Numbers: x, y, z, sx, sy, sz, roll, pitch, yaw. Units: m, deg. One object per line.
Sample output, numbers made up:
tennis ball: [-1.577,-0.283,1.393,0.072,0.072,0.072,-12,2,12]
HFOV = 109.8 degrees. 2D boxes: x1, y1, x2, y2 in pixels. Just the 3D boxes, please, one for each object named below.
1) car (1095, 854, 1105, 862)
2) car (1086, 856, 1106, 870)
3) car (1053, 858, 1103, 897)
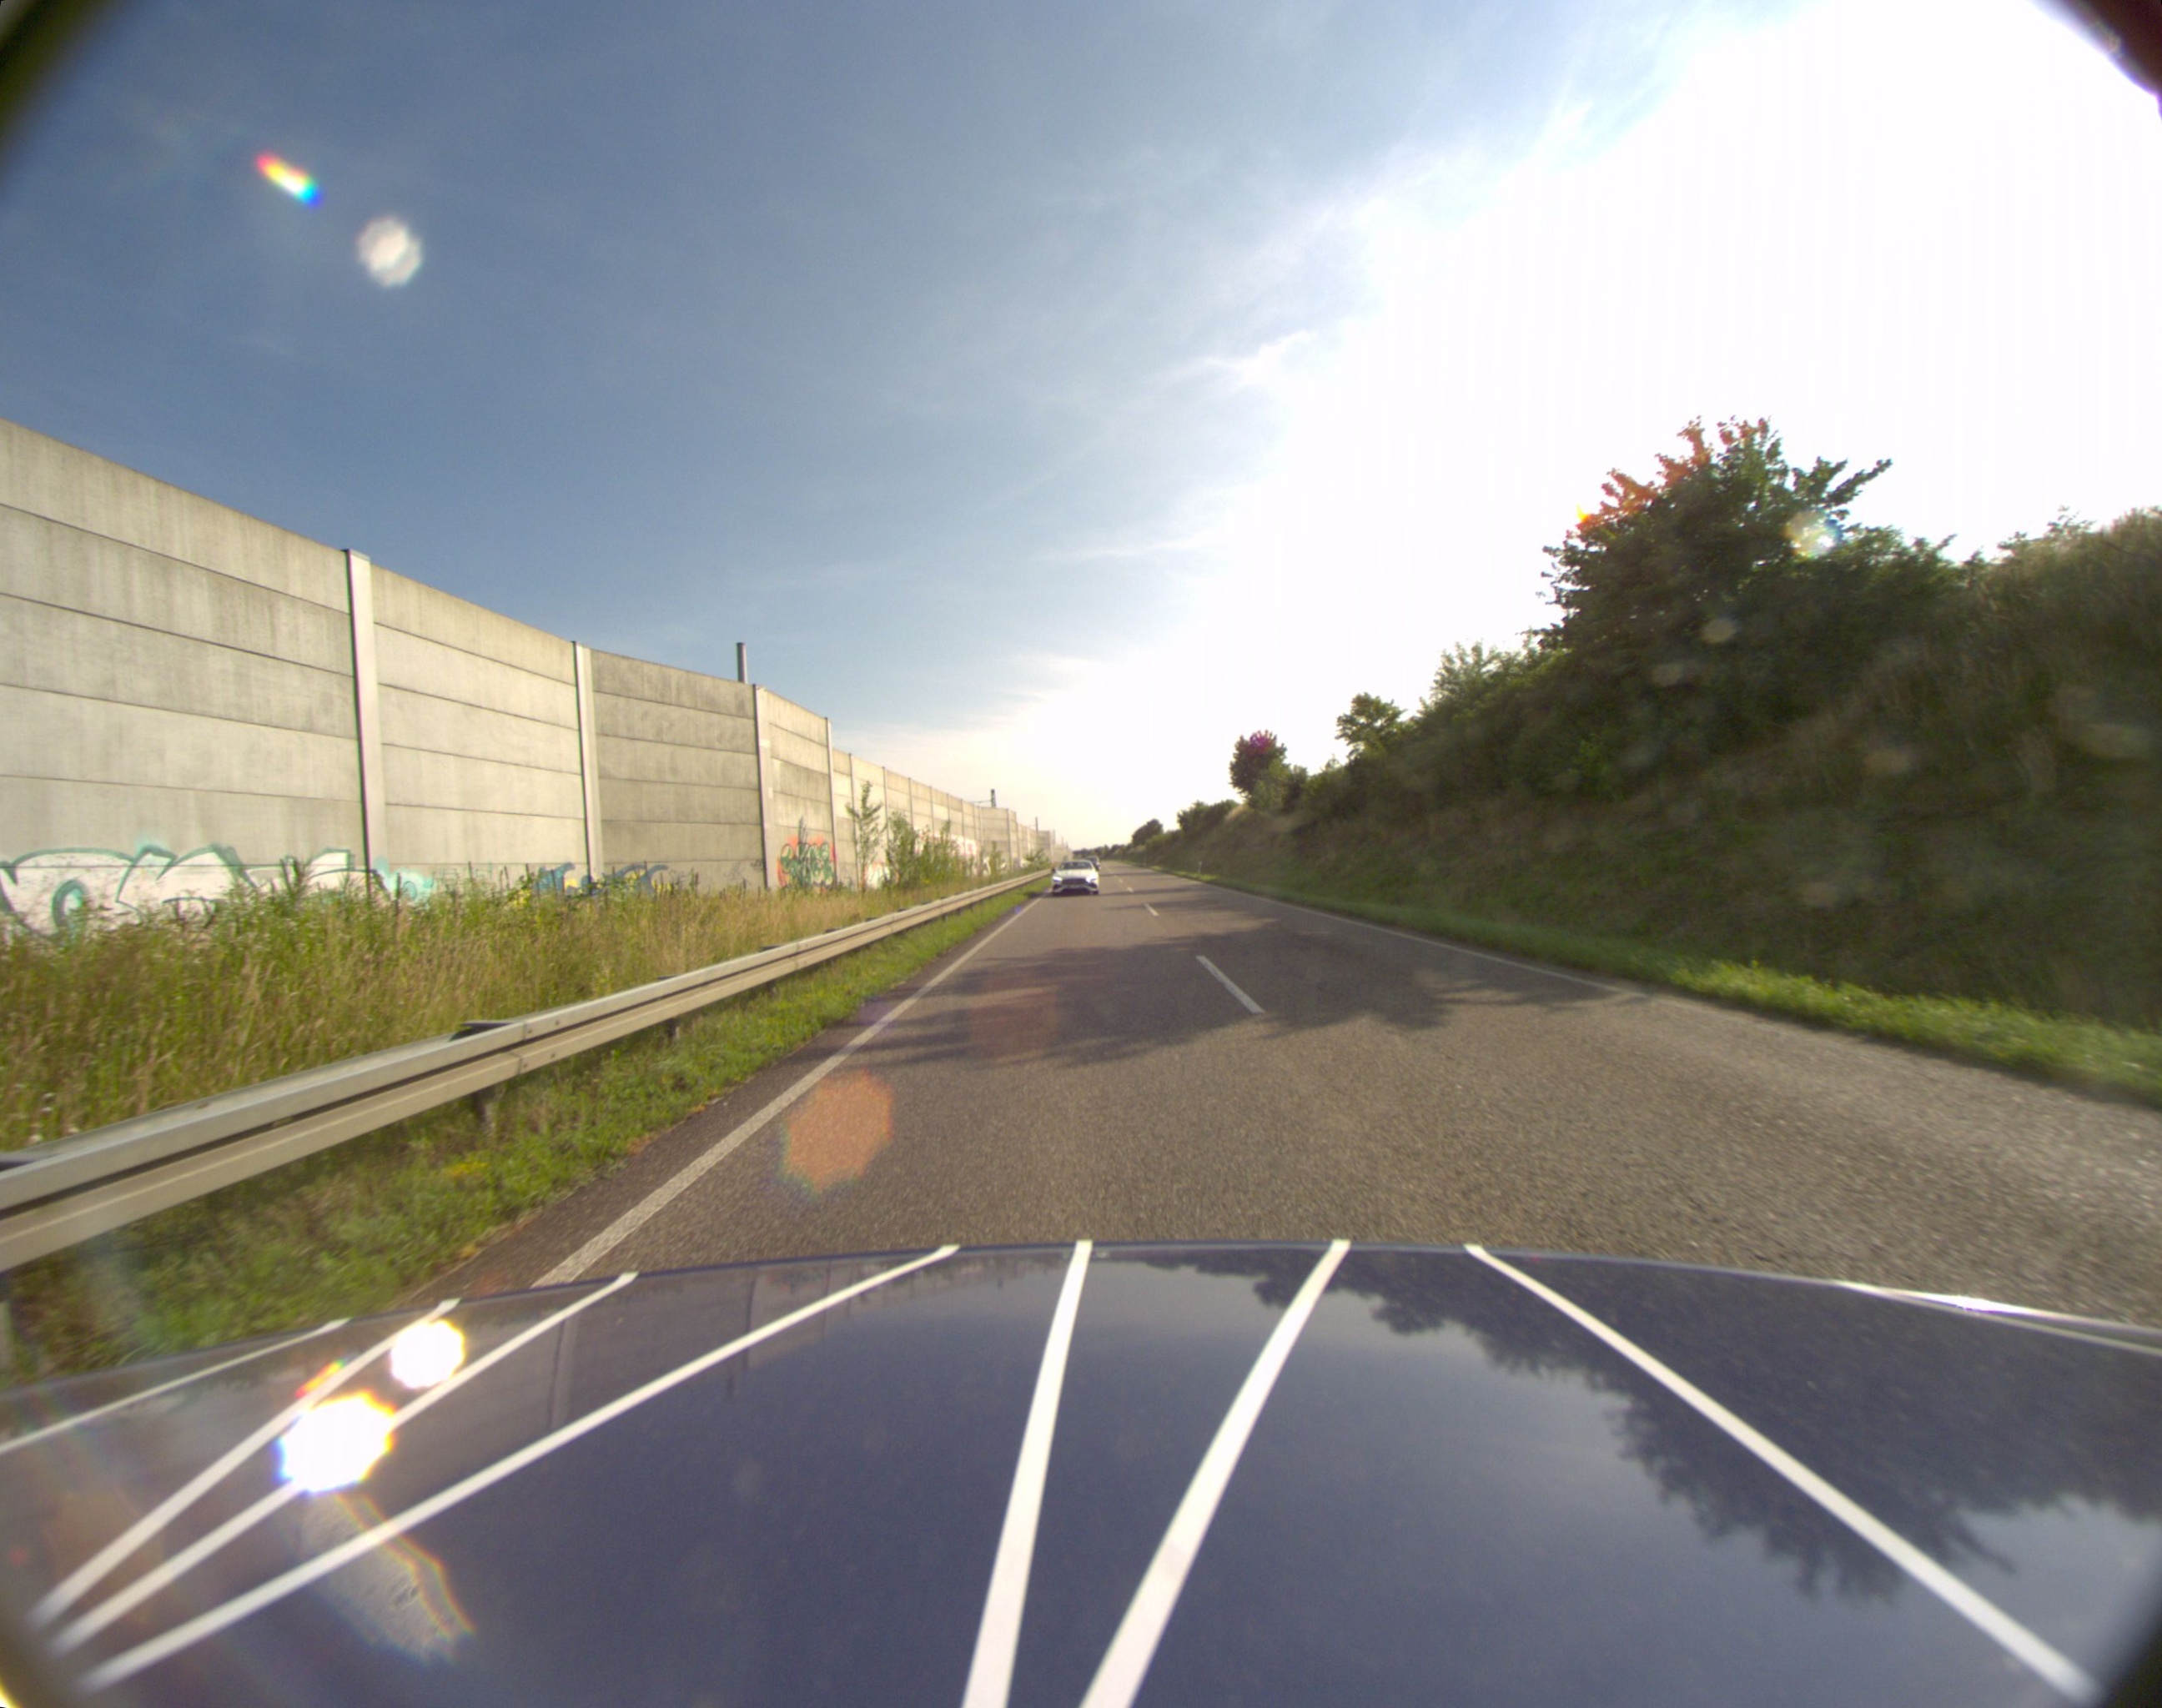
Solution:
car: [4.093,0.862,164.824,1.998,1.746,4.000,-2,0,1]
car: [1.614,0.927,79.158,1.929,1.399,4.974,-1,0,2]
car: [-0.123,0.927,32.164,1.930,1.399,4.973,-1,0,0]
